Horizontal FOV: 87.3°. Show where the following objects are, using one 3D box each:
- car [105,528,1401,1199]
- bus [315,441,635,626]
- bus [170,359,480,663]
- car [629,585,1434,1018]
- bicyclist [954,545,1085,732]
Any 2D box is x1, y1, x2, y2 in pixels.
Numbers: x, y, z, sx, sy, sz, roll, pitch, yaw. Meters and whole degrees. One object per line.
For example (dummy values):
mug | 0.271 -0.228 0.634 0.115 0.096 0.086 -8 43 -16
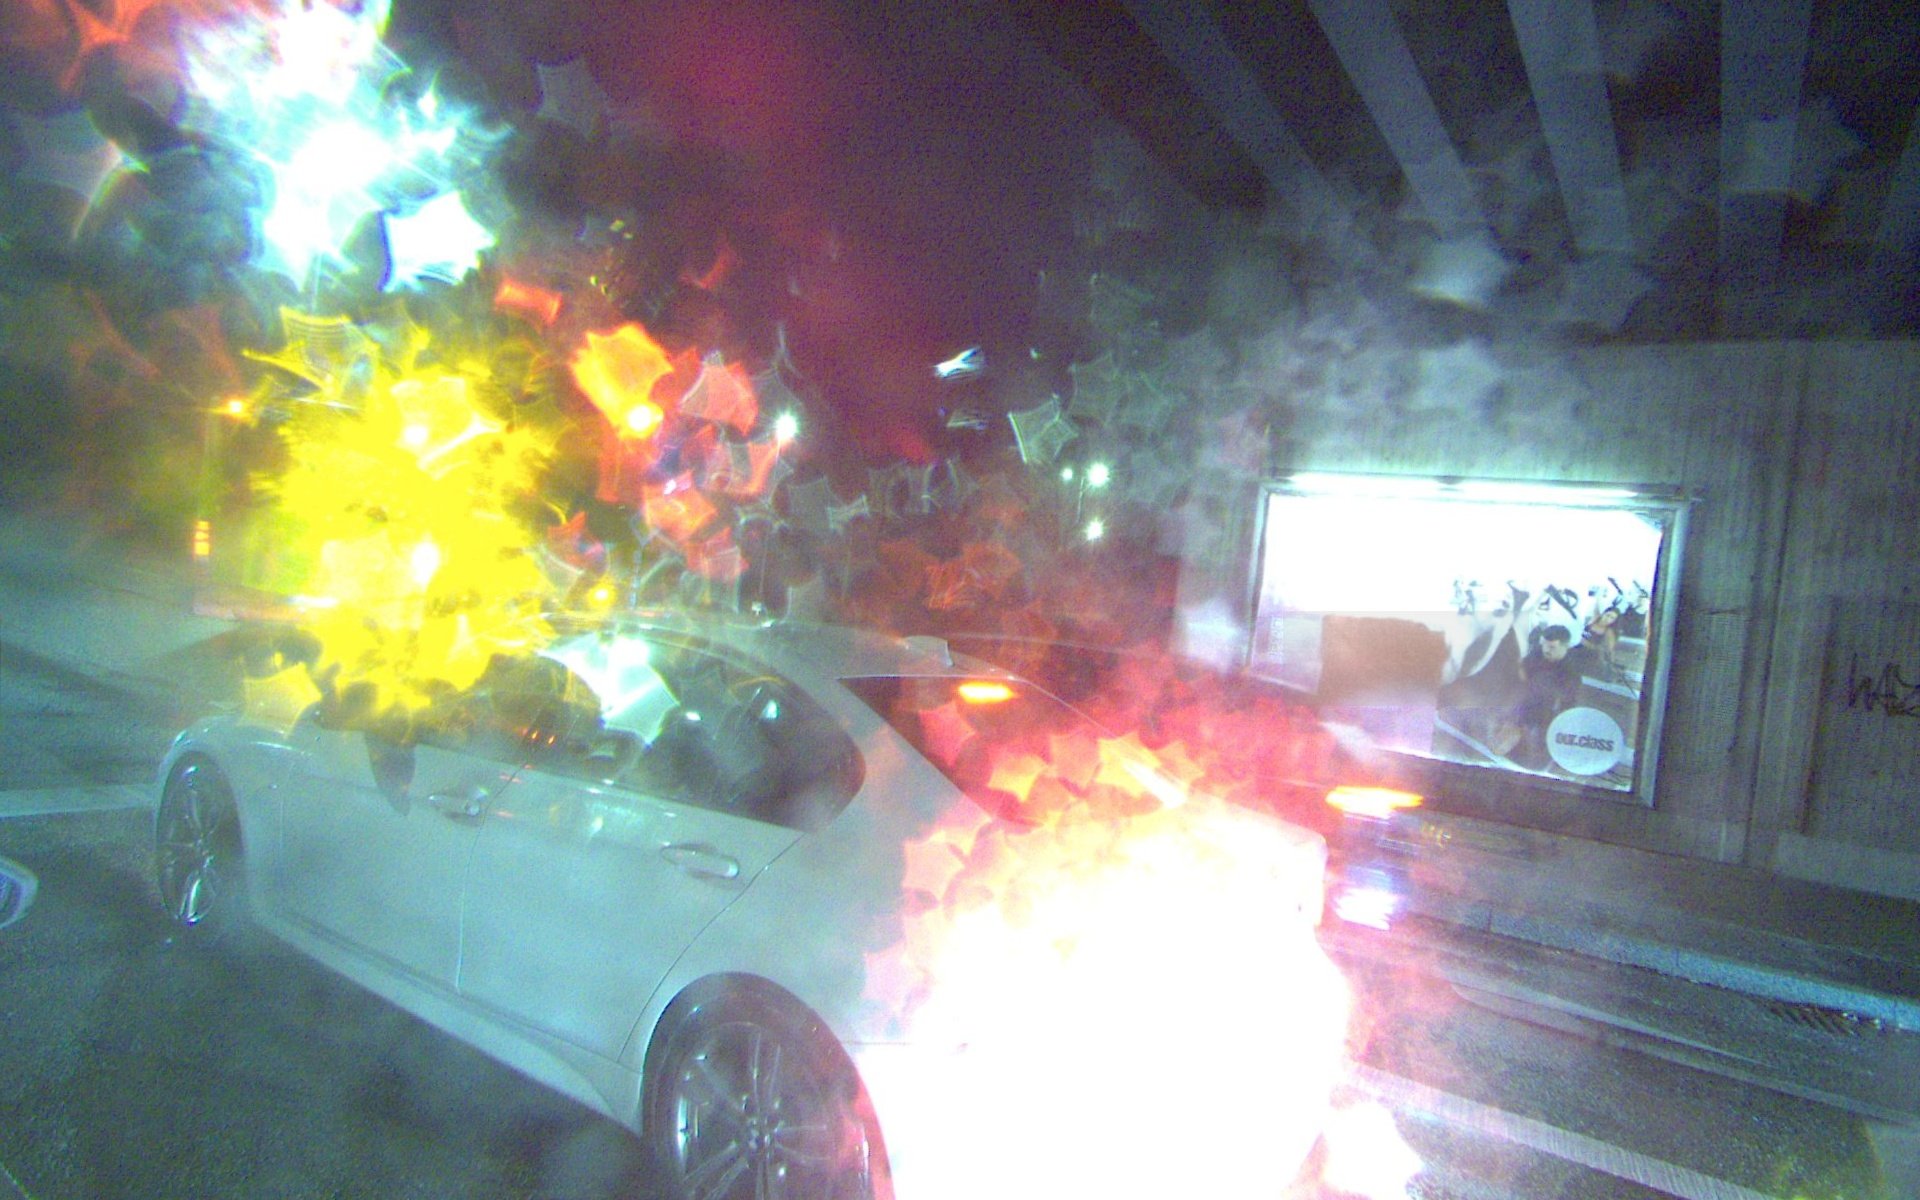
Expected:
car | -0.964 0.707 3.493 4.277 1.420 1.720 6 -2 32
bus | -10.903 -1.153 24.243 2.727 3.159 9.766 8 -2 -1
bus | -9.565 -1.120 16.367 2.745 3.159 9.703 8 -2 -25
car | 0.360 0.955 6.296 4.548 1.495 1.843 6 -2 27
bicyclist | 0.620 0.402 10.387 0.886 1.783 0.798 6 -1 32
